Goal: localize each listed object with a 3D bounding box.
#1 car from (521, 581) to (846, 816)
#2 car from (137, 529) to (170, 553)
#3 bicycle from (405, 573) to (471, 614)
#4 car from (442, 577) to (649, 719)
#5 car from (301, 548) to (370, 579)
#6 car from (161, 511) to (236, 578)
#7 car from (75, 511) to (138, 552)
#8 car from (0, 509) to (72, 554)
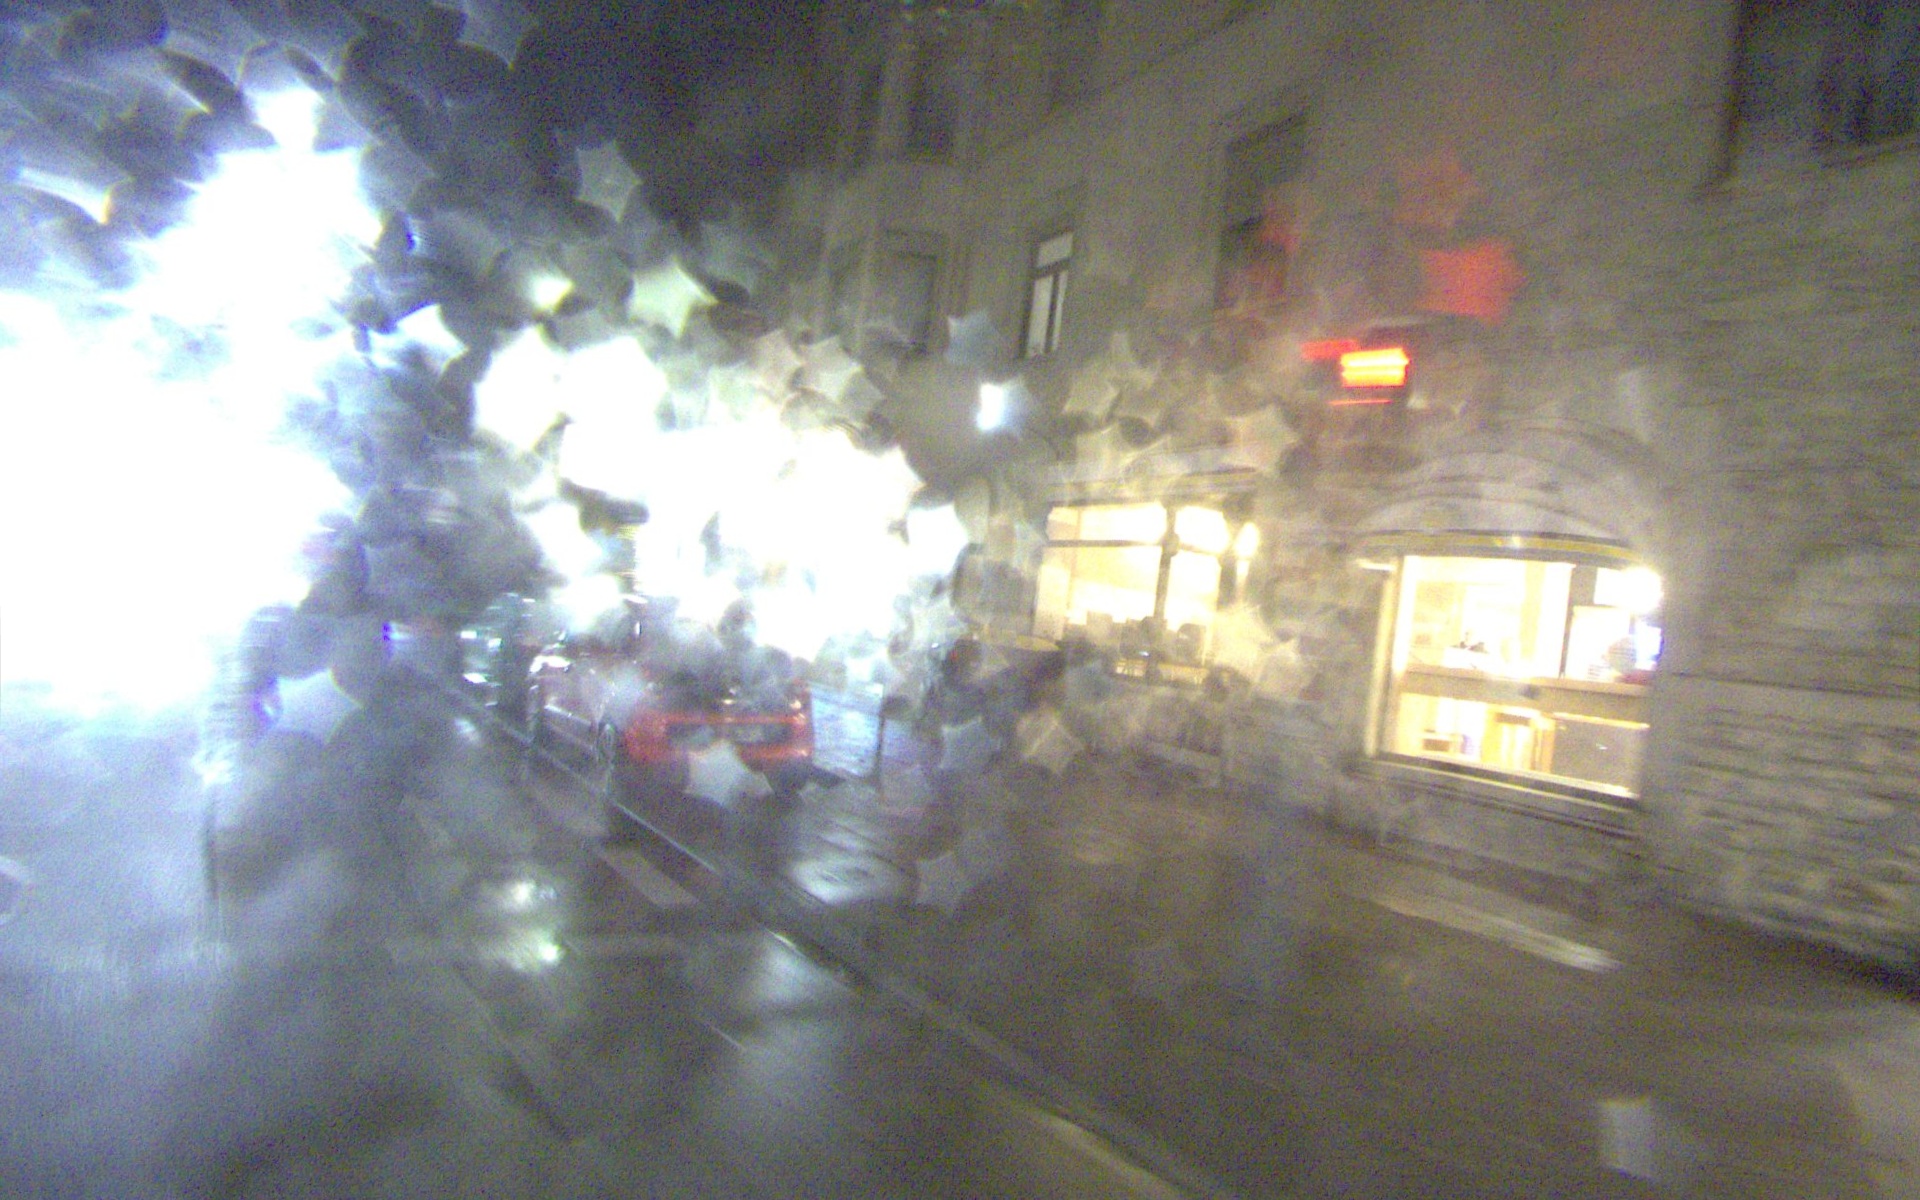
[{"bbox_3d":[-2.620,0.716,8.945,1.636,1.544,3.548,4,0,-35],"label":"car"},{"bbox_3d":[-58.984,-4.301,73.623,1.643,1.497,4.164,7,-1,-37],"label":"car"},{"bbox_3d":[-17.024,-0.196,32.815,1.803,1.178,0.488,6,-1,-36],"label":"bicycle"},{"bbox_3d":[-5.536,0.547,13.140,1.634,1.460,4.019,4,0,-34],"label":"car"},{"bbox_3d":[-43.545,-2.530,70.206,1.736,1.473,3.799,8,-4,14],"label":"car"},{"bbox_3d":[-33.919,-2.464,44.944,2.206,2.468,5.334,10,-3,-35],"label":"car"},{"bbox_3d":[-47.206,-3.755,55.735,1.913,1.902,4.597,7,-1,-33],"label":"car"},{"bbox_3d":[-37.216,-2.728,40.275,1.782,1.481,3.867,9,-2,-33],"label":"car"}]
